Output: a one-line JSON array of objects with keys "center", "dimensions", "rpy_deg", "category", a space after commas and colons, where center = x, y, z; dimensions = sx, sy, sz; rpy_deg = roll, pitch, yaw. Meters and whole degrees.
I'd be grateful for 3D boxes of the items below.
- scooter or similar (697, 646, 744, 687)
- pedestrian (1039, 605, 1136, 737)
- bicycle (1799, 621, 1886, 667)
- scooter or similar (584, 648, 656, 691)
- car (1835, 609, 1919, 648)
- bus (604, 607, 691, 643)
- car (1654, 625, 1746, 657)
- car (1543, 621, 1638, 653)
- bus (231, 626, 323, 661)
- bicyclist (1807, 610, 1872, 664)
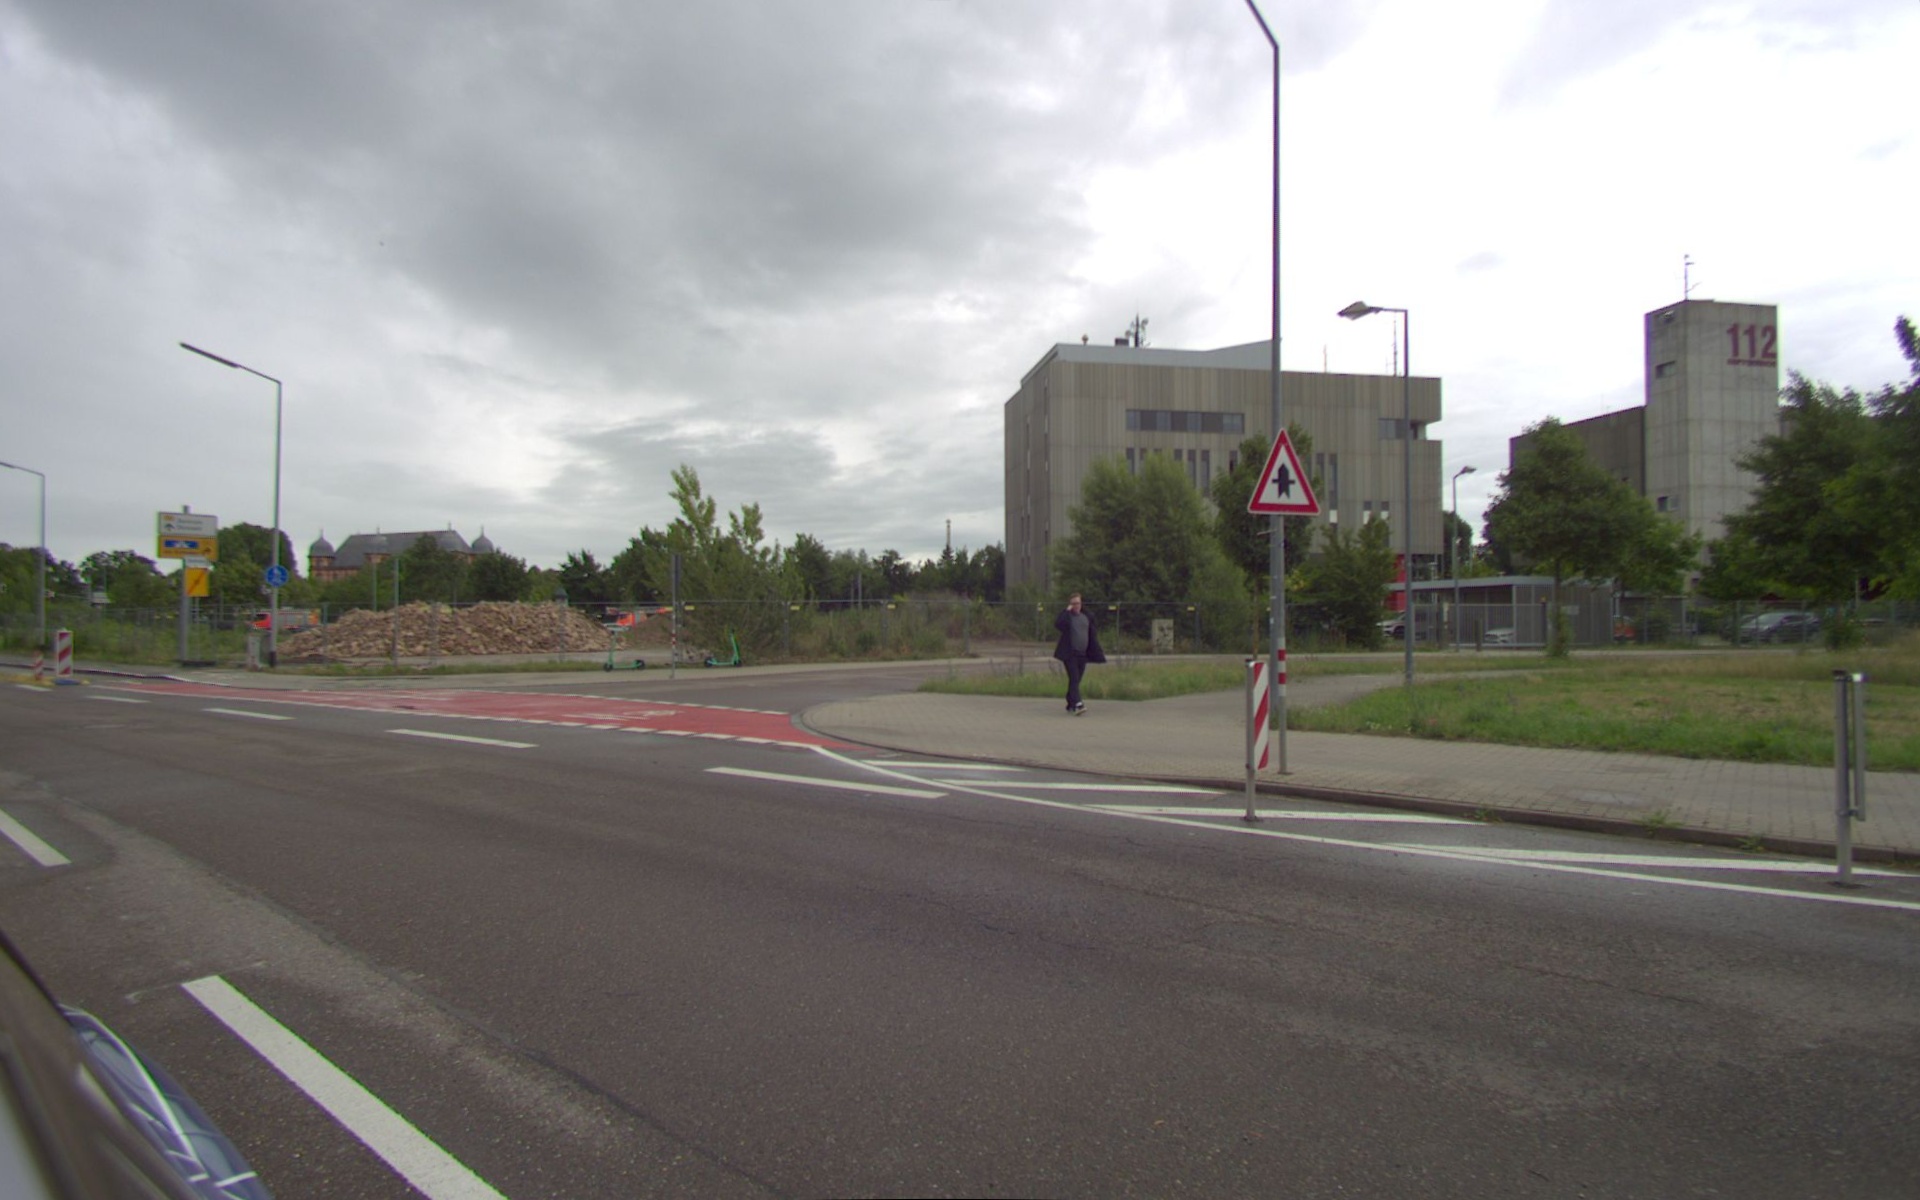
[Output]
[{"center": [-7.242, 2.008, 30.626], "dimensions": [1.315, 1.151, 0.413], "rpy_deg": [-1, 0, -22], "category": "scooter or similar"}, {"center": [1.821, 0.993, 14.422], "dimensions": [1.074, 1.796, 0.836], "rpy_deg": [-3, -3, 34], "category": "pedestrian"}, {"center": [32.348, 1.593, 37.111], "dimensions": [2.459, 1.596, 1.089], "rpy_deg": [-1, -2, -12], "category": "bicycle"}, {"center": [-9.776, 1.982, 29.126], "dimensions": [1.874, 1.151, 0.658], "rpy_deg": [-1, -1, -6], "category": "scooter or similar"}, {"center": [50.182, 1.552, 55.060], "dimensions": [3.932, 2.029, 2.006], "rpy_deg": [-1, -2, -16], "category": "car"}, {"center": [-37.530, 2.990, 121.954], "dimensions": [9.729, 4.012, 2.740], "rpy_deg": [-1, -2, -10], "category": "bus"}, {"center": [42.106, 2.332, 57.613], "dimensions": [3.938, 1.752, 1.817], "rpy_deg": [-1, -1, -6], "category": "car"}, {"center": [32.884, 1.913, 52.851], "dimensions": [3.936, 1.608, 1.776], "rpy_deg": [-1, -1, -9], "category": "car"}, {"center": [-77.467, 4.887, 114.936], "dimensions": [8.259, 3.676, 2.741], "rpy_deg": [-1, -2, -12], "category": "bus"}, {"center": [32.278, 1.358, 37.153], "dimensions": [1.379, 1.914, 1.080], "rpy_deg": [-1, -2, -13], "category": "bicyclist"}]
